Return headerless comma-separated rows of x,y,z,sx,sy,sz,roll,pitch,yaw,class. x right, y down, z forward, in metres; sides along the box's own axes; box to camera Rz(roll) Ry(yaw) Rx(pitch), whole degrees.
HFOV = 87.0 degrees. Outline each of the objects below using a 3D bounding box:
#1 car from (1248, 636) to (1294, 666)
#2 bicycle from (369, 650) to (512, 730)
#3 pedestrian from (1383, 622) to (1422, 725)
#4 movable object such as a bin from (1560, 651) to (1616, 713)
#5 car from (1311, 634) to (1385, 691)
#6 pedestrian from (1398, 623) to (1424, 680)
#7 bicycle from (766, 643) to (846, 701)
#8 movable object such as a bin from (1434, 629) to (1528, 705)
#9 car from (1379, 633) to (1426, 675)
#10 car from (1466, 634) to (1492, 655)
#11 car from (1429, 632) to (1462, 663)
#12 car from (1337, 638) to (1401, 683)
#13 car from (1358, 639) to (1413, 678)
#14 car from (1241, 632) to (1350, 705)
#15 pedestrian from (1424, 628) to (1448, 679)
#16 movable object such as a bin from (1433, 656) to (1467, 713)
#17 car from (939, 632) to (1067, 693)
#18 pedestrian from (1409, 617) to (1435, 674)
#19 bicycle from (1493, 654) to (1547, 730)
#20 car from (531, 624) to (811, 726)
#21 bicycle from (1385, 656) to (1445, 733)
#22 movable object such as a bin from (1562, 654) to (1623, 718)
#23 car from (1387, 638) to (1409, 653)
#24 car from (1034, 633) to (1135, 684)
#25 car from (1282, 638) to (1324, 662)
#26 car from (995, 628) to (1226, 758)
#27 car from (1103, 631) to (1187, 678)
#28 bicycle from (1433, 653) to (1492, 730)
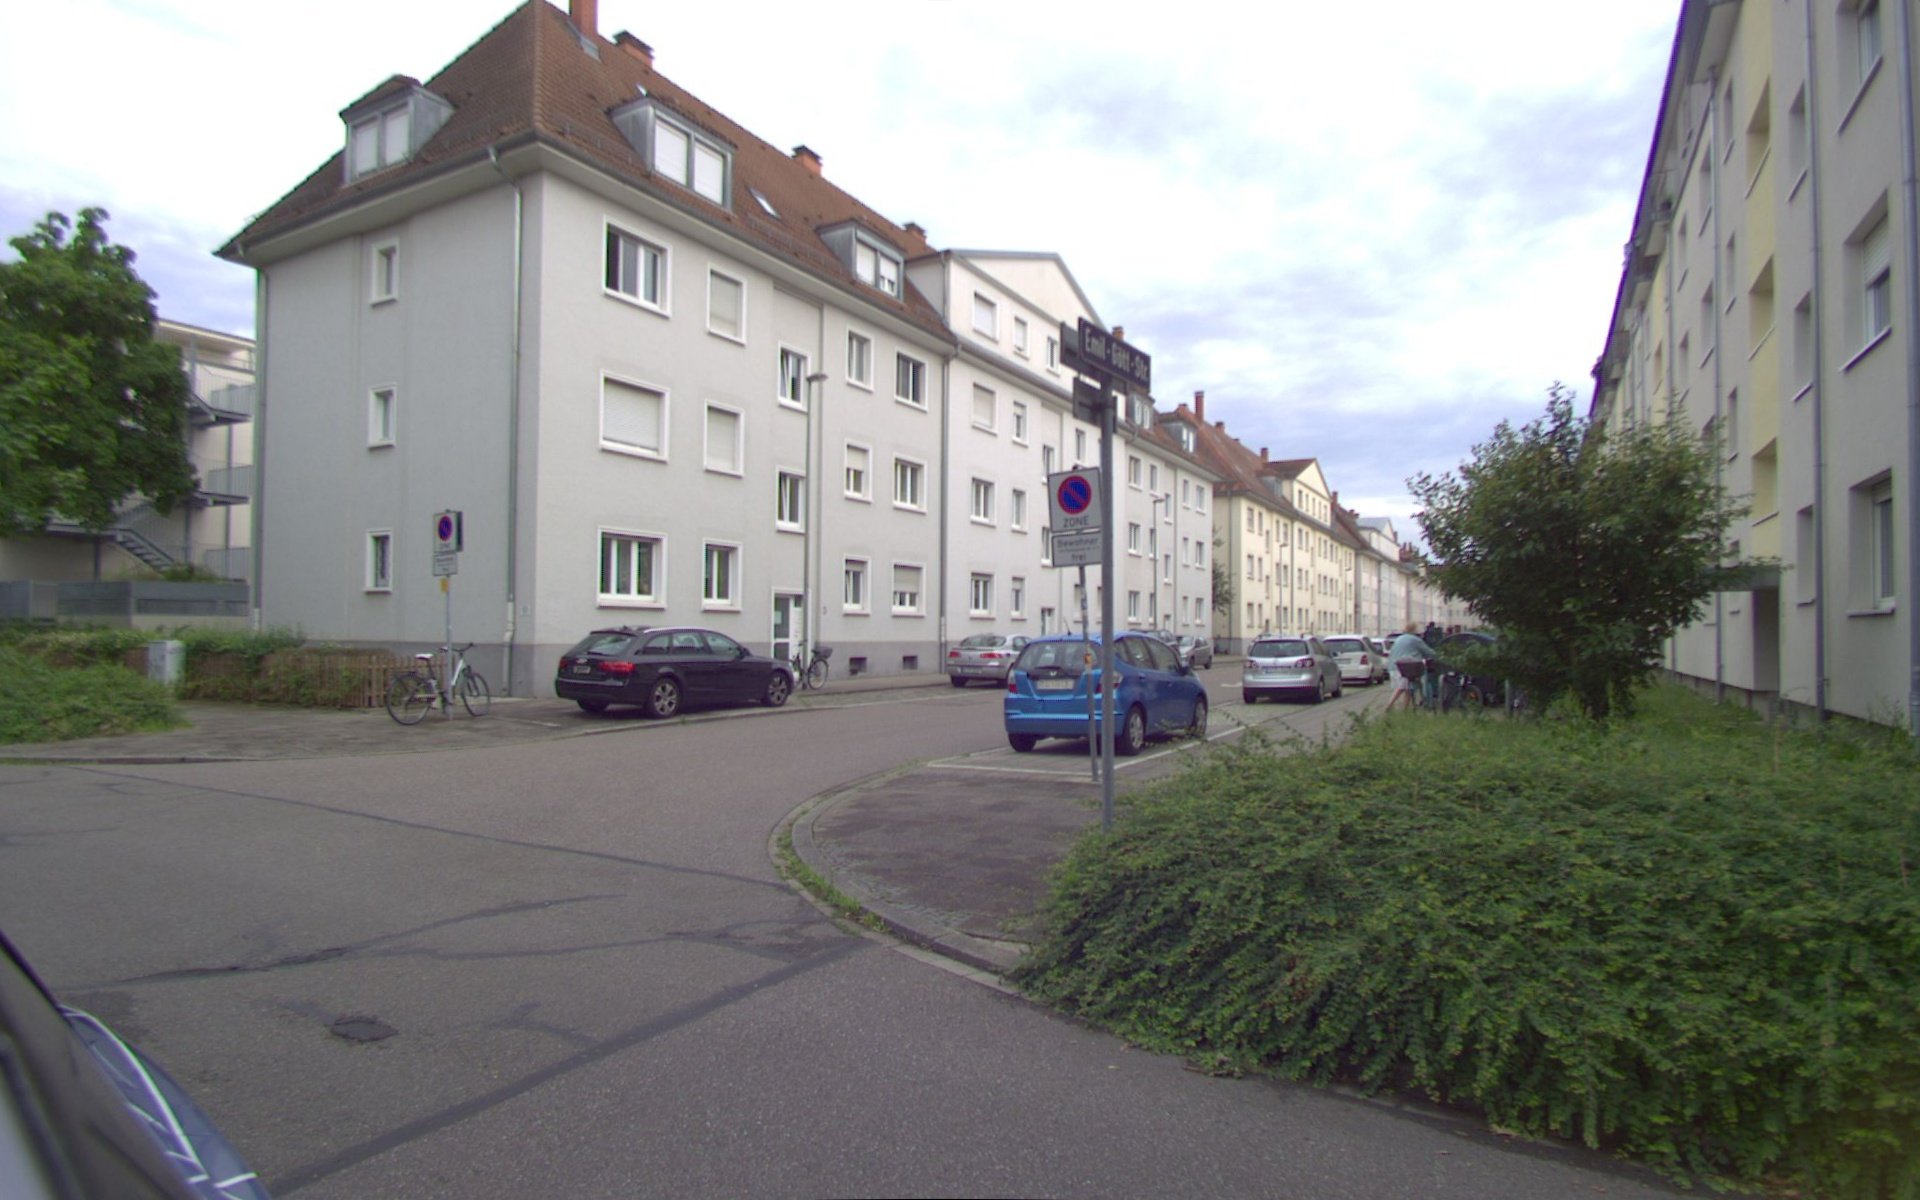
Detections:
16.937,2.735,55.078,1.730,1.559,3.642,0,-2,29,car
-7.638,1.298,14.966,0.567,1.011,1.869,1,0,30,bicycle
6.906,1.137,15.783,0.447,1.561,0.561,-1,-4,35,pedestrian
11.726,1.518,18.923,0.841,1.125,0.592,-1,-3,28,movable object such as a bin
12.181,1.910,31.626,1.683,1.651,3.691,-1,-2,29,car
15.177,1.738,34.032,0.639,1.878,0.964,-3,-4,30,pedestrian
-3.454,1.608,22.921,0.748,1.209,1.875,1,-2,30,bicycle
10.366,1.308,20.117,1.587,1.432,1.654,-1,-3,29,movable object such as a bin
20.274,2.470,46.297,1.569,1.794,4.407,-1,-3,29,car
51.772,4.433,100.941,2.179,2.047,4.381,-1,-3,27,car
29.254,2.857,60.946,1.699,1.820,3.509,-1,-3,27,car
14.848,2.158,36.618,1.715,1.521,4.643,-1,-3,27,car
17.317,2.345,41.114,1.722,1.464,4.441,-1,-2,27,car
7.961,1.564,23.844,1.653,1.562,3.874,-2,-3,30,car
15.795,1.762,33.576,0.614,1.669,0.795,-1,-2,30,pedestrian
9.282,1.591,19.165,0.536,1.041,0.592,-1,-3,29,movable object such as a bin
1.263,1.646,27.413,1.730,1.474,4.387,0,-2,28,car
15.245,1.501,33.392,0.706,1.868,0.755,-1,-3,30,pedestrian
8.623,1.371,15.556,0.657,1.079,2.152,-1,-3,31,bicycle
-4.739,1.196,17.375,1.858,1.474,4.679,0,-2,29,car
7.088,1.437,15.730,0.536,1.128,1.796,-1,-4,35,bicycle
11.097,1.495,17.780,0.863,1.059,0.627,-1,-3,29,movable object such as a bin
44.914,4.679,103.844,1.730,1.463,4.176,0,-2,28,car
4.072,1.840,32.452,1.779,1.474,4.280,0,-2,28,car
21.286,3.084,62.747,1.731,1.437,4.175,0,-2,29,car
2.155,1.169,13.603,1.729,1.474,3.916,-3,-4,30,car
6.835,1.971,37.106,1.846,1.611,4.119,0,-2,28,car
7.779,1.372,15.620,0.657,1.076,2.099,-1,-3,31,bicycle
